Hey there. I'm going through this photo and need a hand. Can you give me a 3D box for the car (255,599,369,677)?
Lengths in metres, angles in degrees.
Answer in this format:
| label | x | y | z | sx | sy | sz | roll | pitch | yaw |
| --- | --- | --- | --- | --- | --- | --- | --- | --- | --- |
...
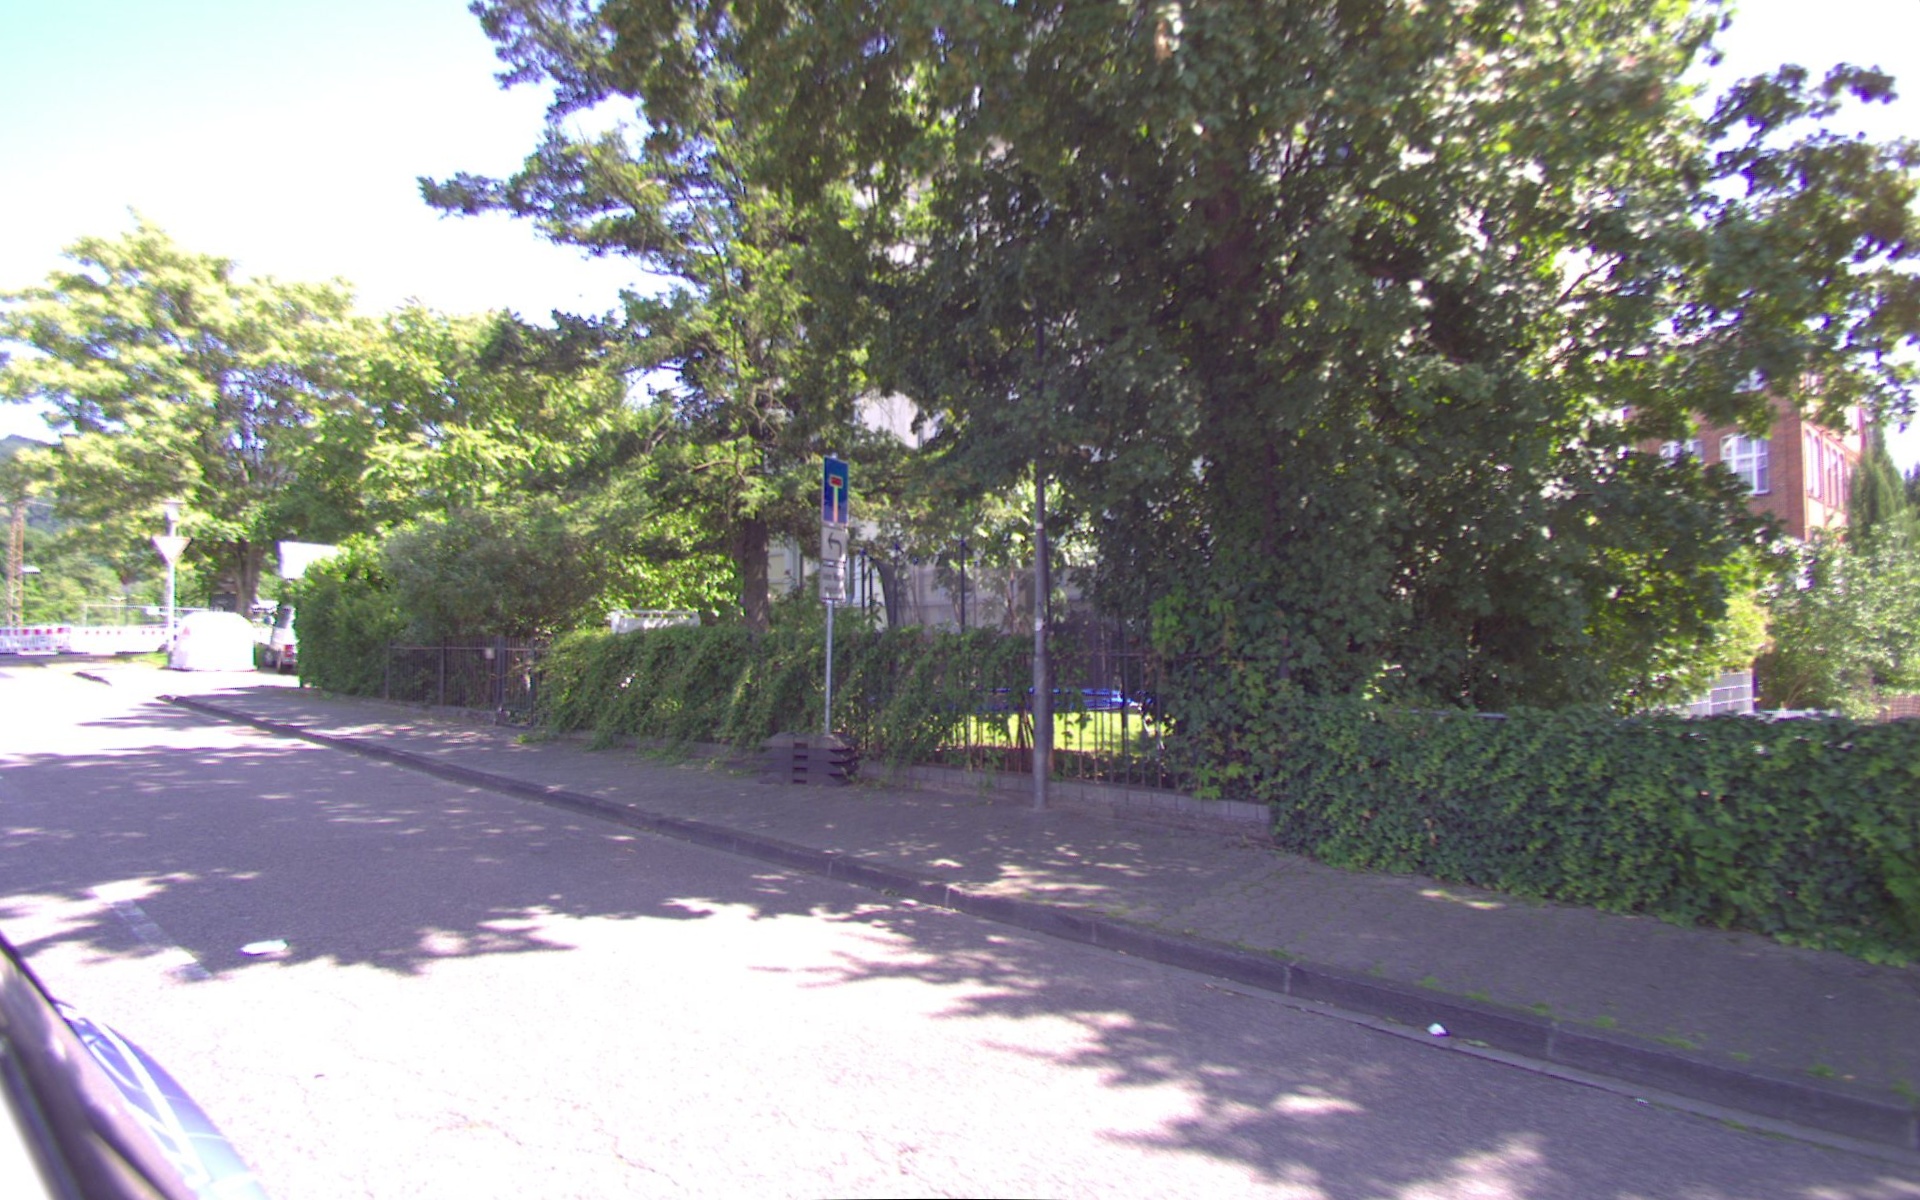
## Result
| label | x | y | z | sx | sy | sz | roll | pitch | yaw |
| --- | --- | --- | --- | --- | --- | --- | --- | --- | --- |
| car | -18.409 | 1.034 | 28.632 | 1.968 | 1.945 | 5.109 | 5 | -2 | -40 |
